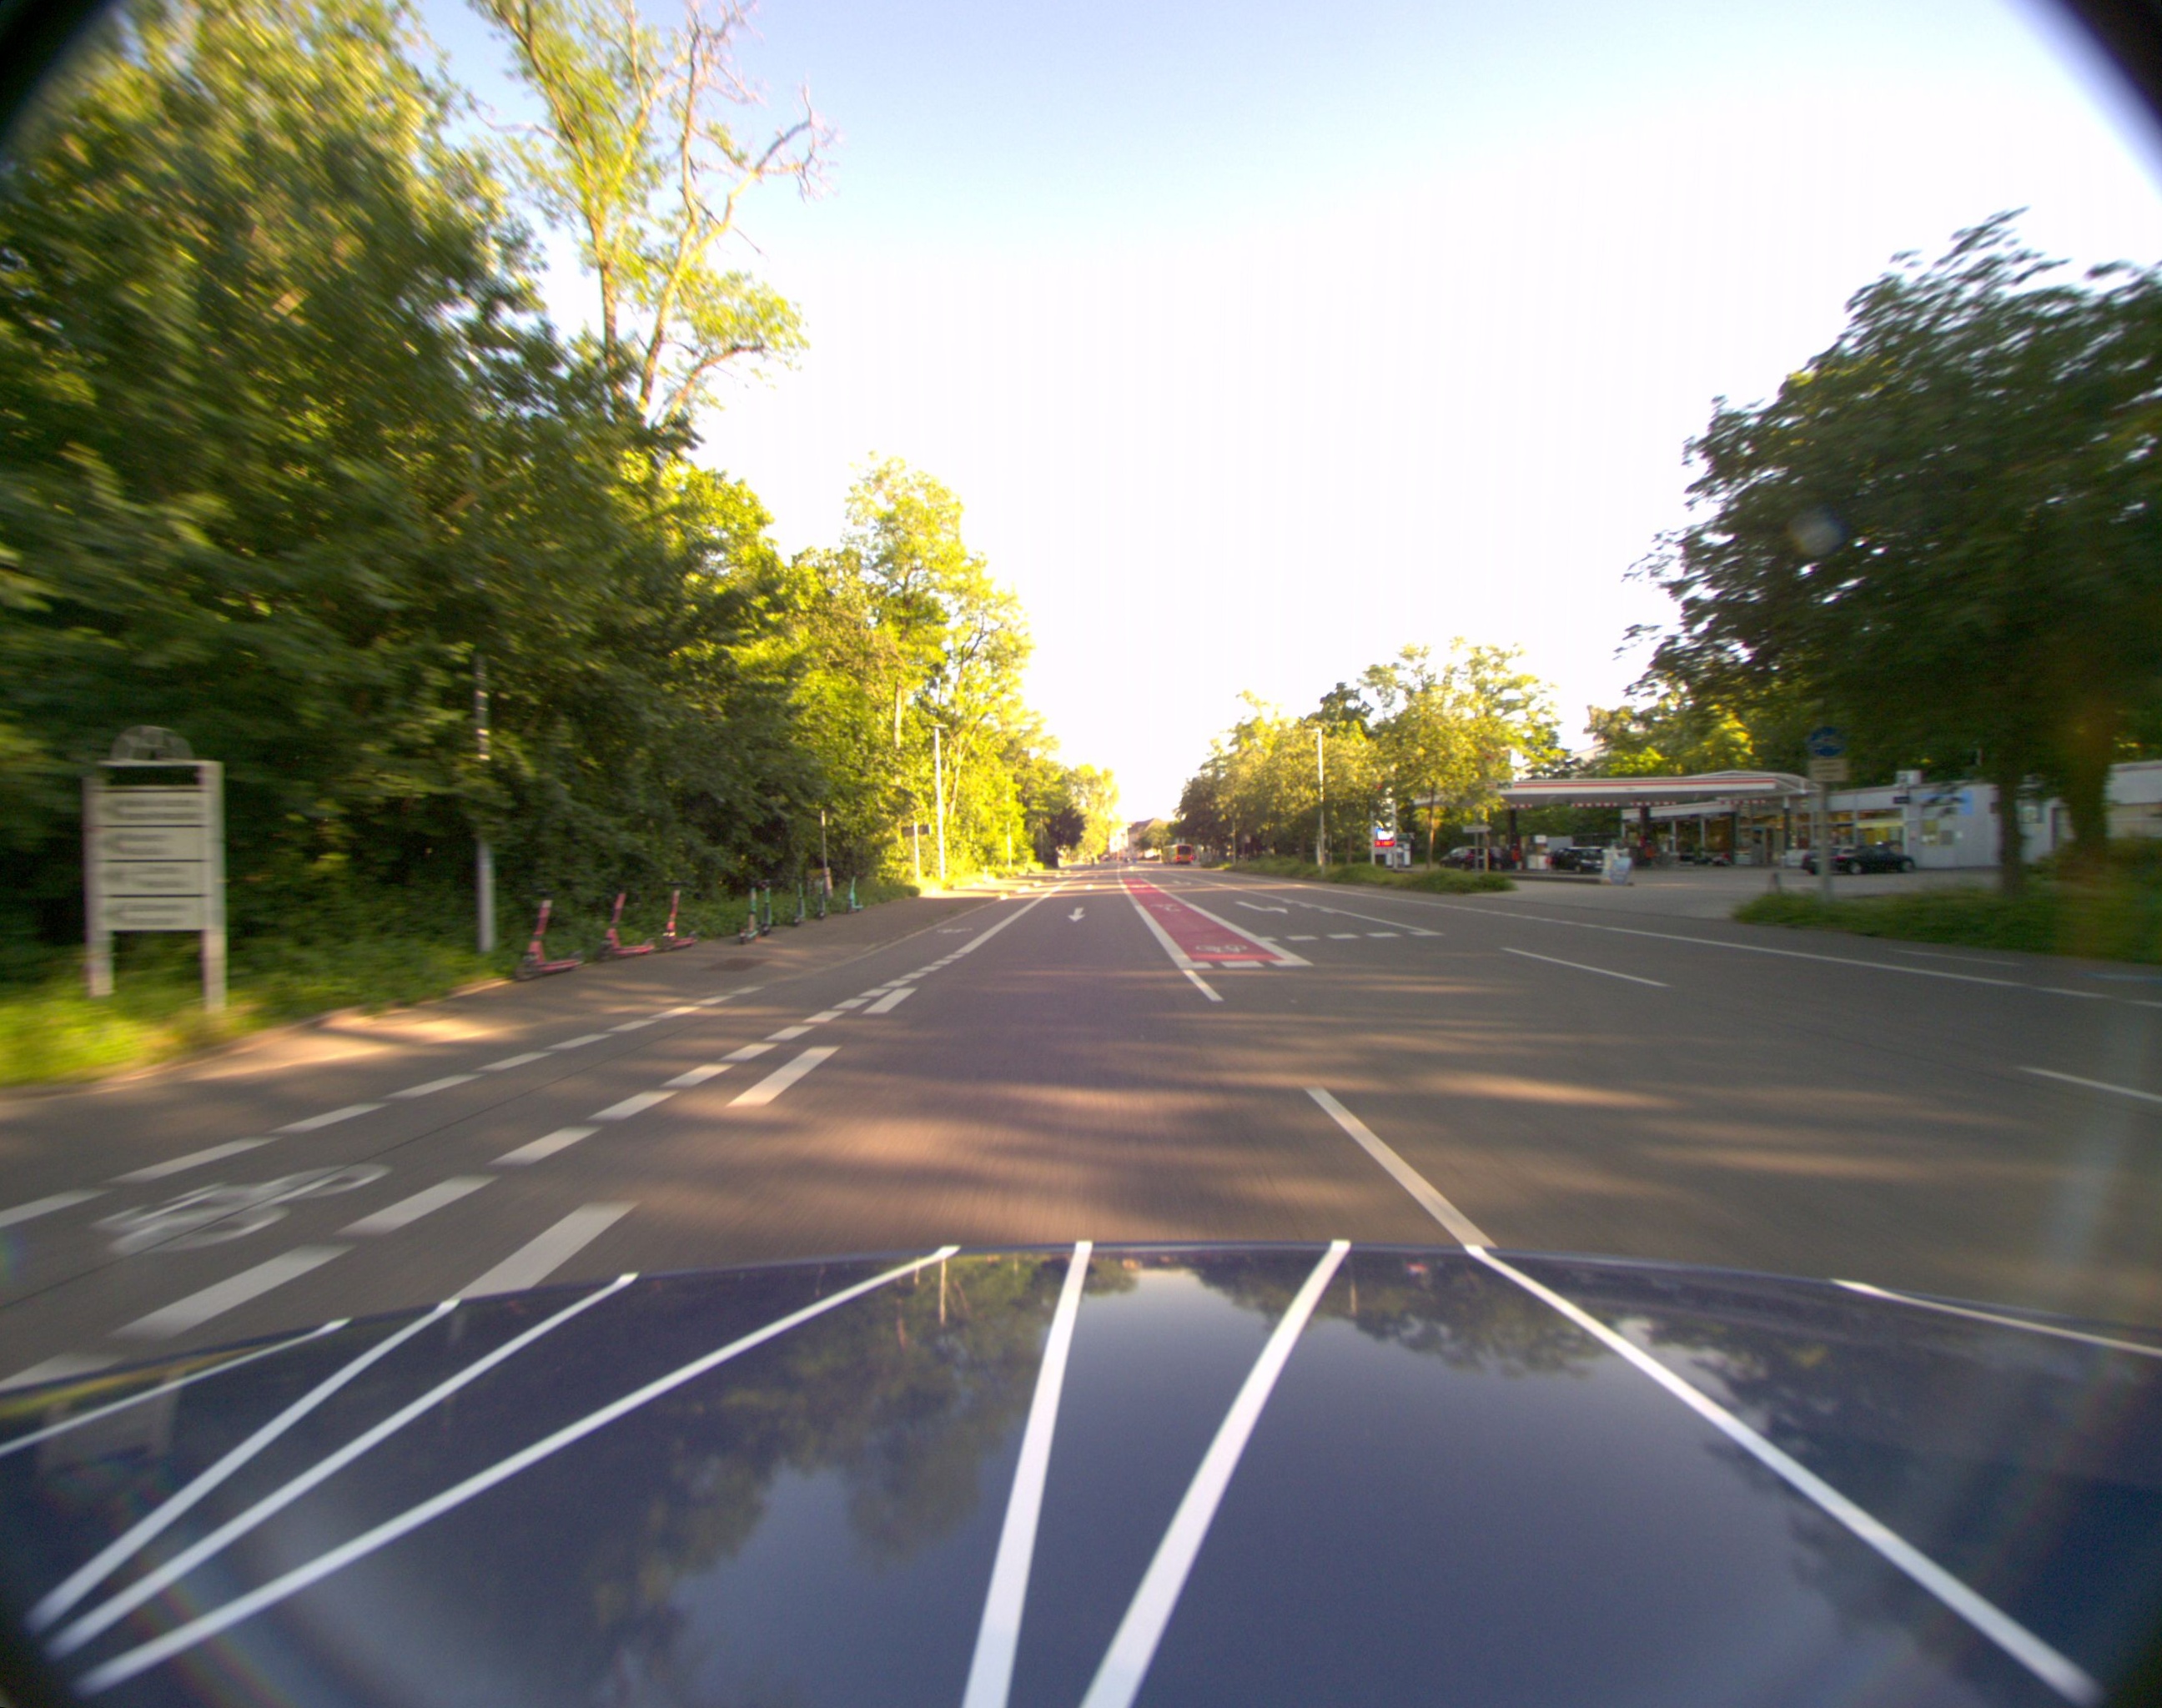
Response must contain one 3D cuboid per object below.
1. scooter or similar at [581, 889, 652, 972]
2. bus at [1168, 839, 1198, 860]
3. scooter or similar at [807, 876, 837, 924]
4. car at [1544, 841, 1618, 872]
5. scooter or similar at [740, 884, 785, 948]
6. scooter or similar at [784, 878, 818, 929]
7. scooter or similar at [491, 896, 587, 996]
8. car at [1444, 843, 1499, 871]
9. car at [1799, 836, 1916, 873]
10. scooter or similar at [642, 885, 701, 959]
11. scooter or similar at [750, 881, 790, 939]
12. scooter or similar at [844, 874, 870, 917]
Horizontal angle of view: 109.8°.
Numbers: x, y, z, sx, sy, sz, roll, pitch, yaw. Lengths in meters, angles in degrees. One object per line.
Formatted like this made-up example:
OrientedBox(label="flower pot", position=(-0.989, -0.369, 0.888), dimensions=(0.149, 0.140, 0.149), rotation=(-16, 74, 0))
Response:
OrientedBox(label="scooter or similar", position=(-7.224, 1.169, 11.867), dimensions=(0.386, 1.177, 1.103), rotation=(-1, 0, 1))
OrientedBox(label="bus", position=(17.306, -0.720, 129.426), dimensions=(3.039, 3.388, 9.478), rotation=(-1, 0, -4))
OrientedBox(label="scooter or similar", position=(-6.860, 1.205, 20.175), dimensions=(0.386, 1.177, 1.103), rotation=(-1, 0, 1))
OrientedBox(label="car", position=(28.437, 0.130, 43.352), dimensions=(1.758, 1.631, 3.838), rotation=(-1, 0, 3))
OrientedBox(label="scooter or similar", position=(-6.292, 1.199, 15.034), dimensions=(0.386, 1.177, 1.103), rotation=(-1, 0, 1))
OrientedBox(label="scooter or similar", position=(-6.812, 1.191, 18.534), dimensions=(0.386, 1.177, 1.103), rotation=(-1, 0, 1))
OrientedBox(label="scooter or similar", position=(-7.209, 1.190, 10.159), dimensions=(0.386, 1.177, 1.188), rotation=(-1, 0, 1))
OrientedBox(label="car", position=(24.536, 0.167, 47.862), dimensions=(1.758, 1.631, 3.613), rotation=(-1, 0, 3))
OrientedBox(label="car", position=(35.987, 0.023, 35.271), dimensions=(3.609, 1.631, 1.760), rotation=(-1, 0, 1))
OrientedBox(label="scooter or similar", position=(-7.018, 1.144, 13.063), dimensions=(0.386, 1.177, 1.103), rotation=(-1, 0, 1))
OrientedBox(label="scooter or similar", position=(-6.773, 1.206, 16.600), dimensions=(0.386, 1.177, 1.103), rotation=(-1, 0, 1))
OrientedBox(label="scooter or similar", position=(-6.516, 1.192, 22.126), dimensions=(0.386, 1.177, 1.103), rotation=(-1, 0, 1))
